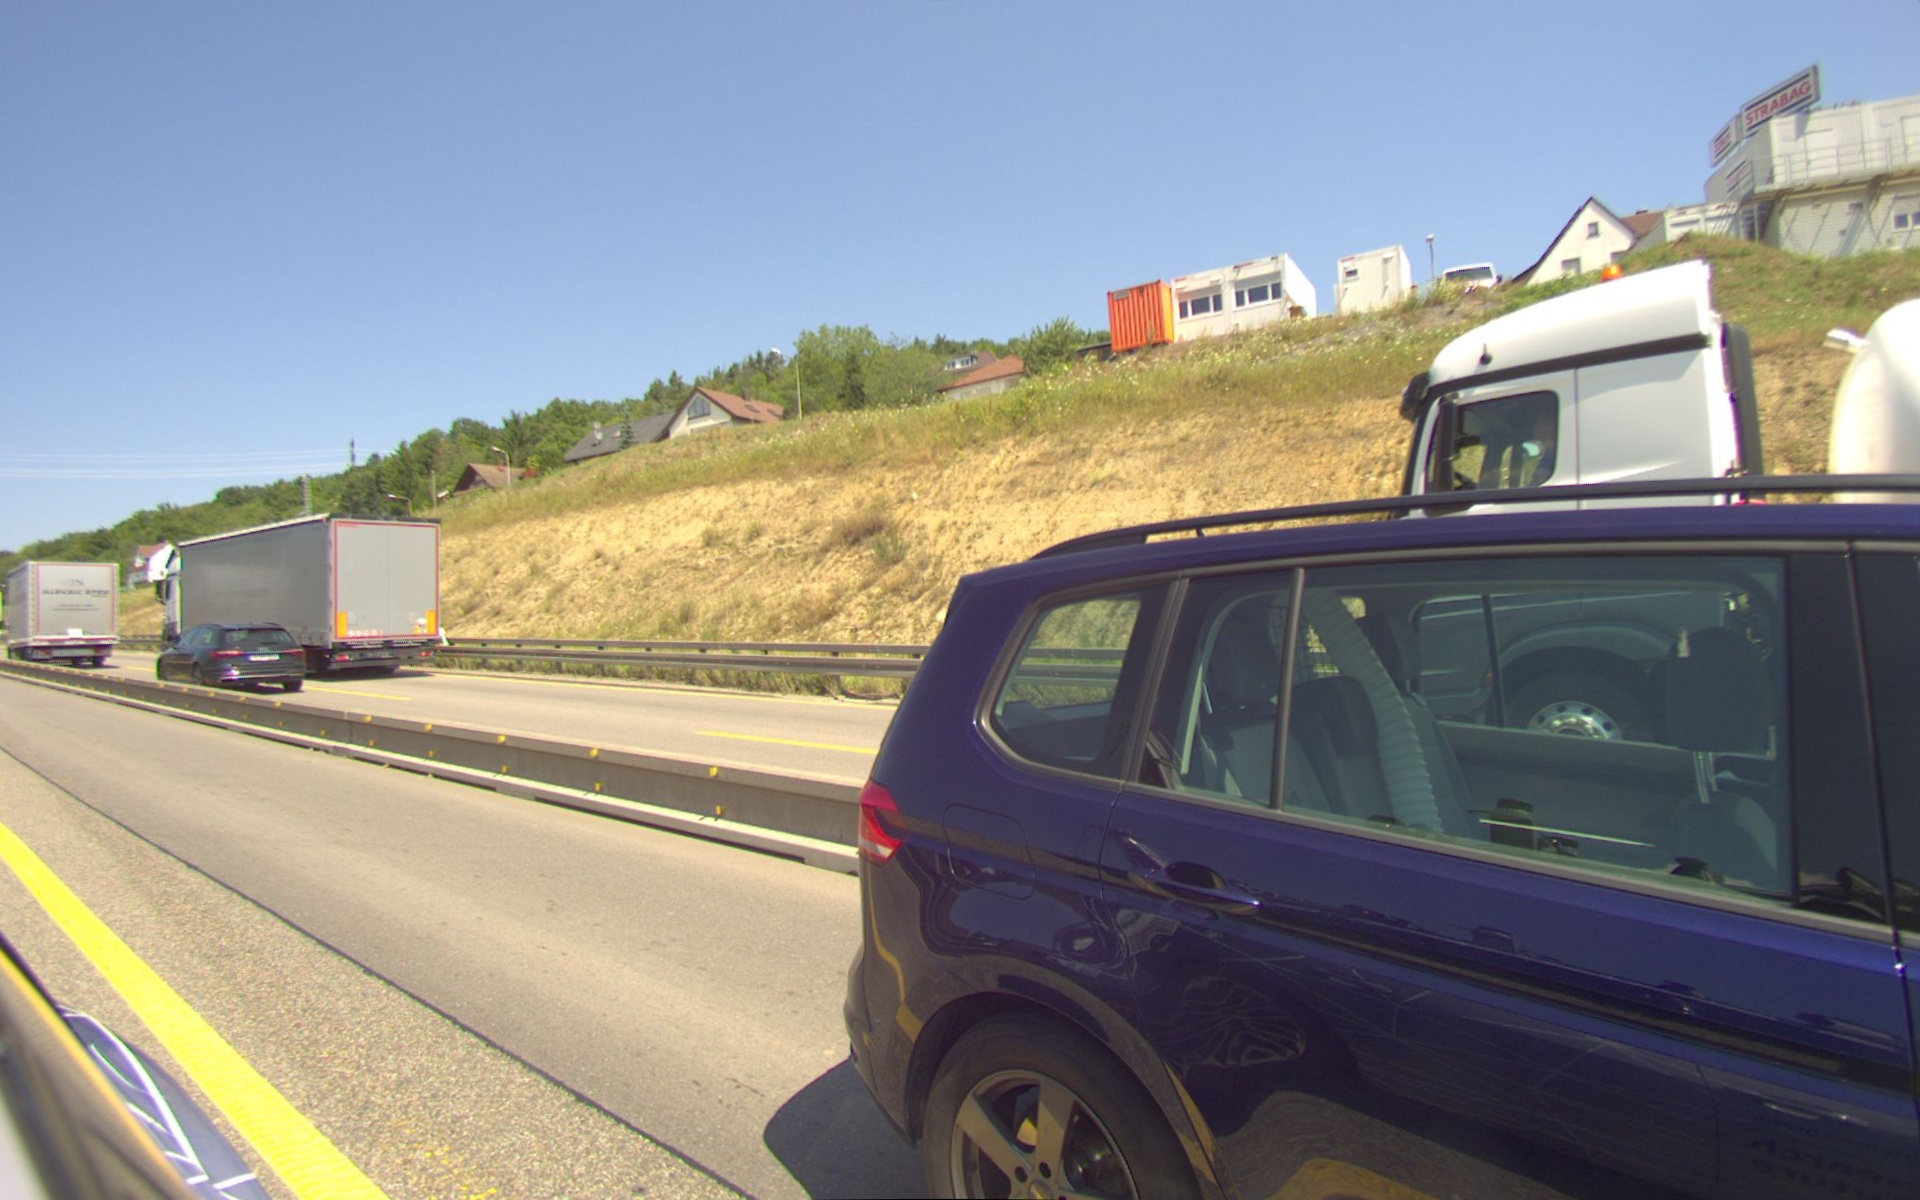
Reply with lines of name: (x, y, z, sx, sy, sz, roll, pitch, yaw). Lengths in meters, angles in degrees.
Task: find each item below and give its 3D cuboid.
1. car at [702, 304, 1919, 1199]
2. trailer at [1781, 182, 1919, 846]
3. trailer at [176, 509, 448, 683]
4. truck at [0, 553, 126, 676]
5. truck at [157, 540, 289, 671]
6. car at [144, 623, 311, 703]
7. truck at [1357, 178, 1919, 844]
car: (1.724, 0.543, 1.581, 4.649, 1.731, 1.757, -3, -2, 41)
trailer: (10.432, -0.646, 3.296, 11.910, 3.830, 2.563, -2, -1, 41)
trailer: (-19.018, 0.069, 28.981, 13.692, 4.055, 2.670, -2, -1, 40)
truck: (-30.846, 0.517, 34.533, 7.356, 3.787, 2.562, -2, -1, 42)
truck: (-24.619, 0.203, 33.772, 3.952, 4.080, 2.671, -2, -1, 40)
car: (-15.503, 1.247, 21.329, 4.716, 1.469, 1.761, -1, 0, 40)
truck: (5.398, -0.492, 7.633, 3.764, 3.830, 2.564, -2, -1, 41)
